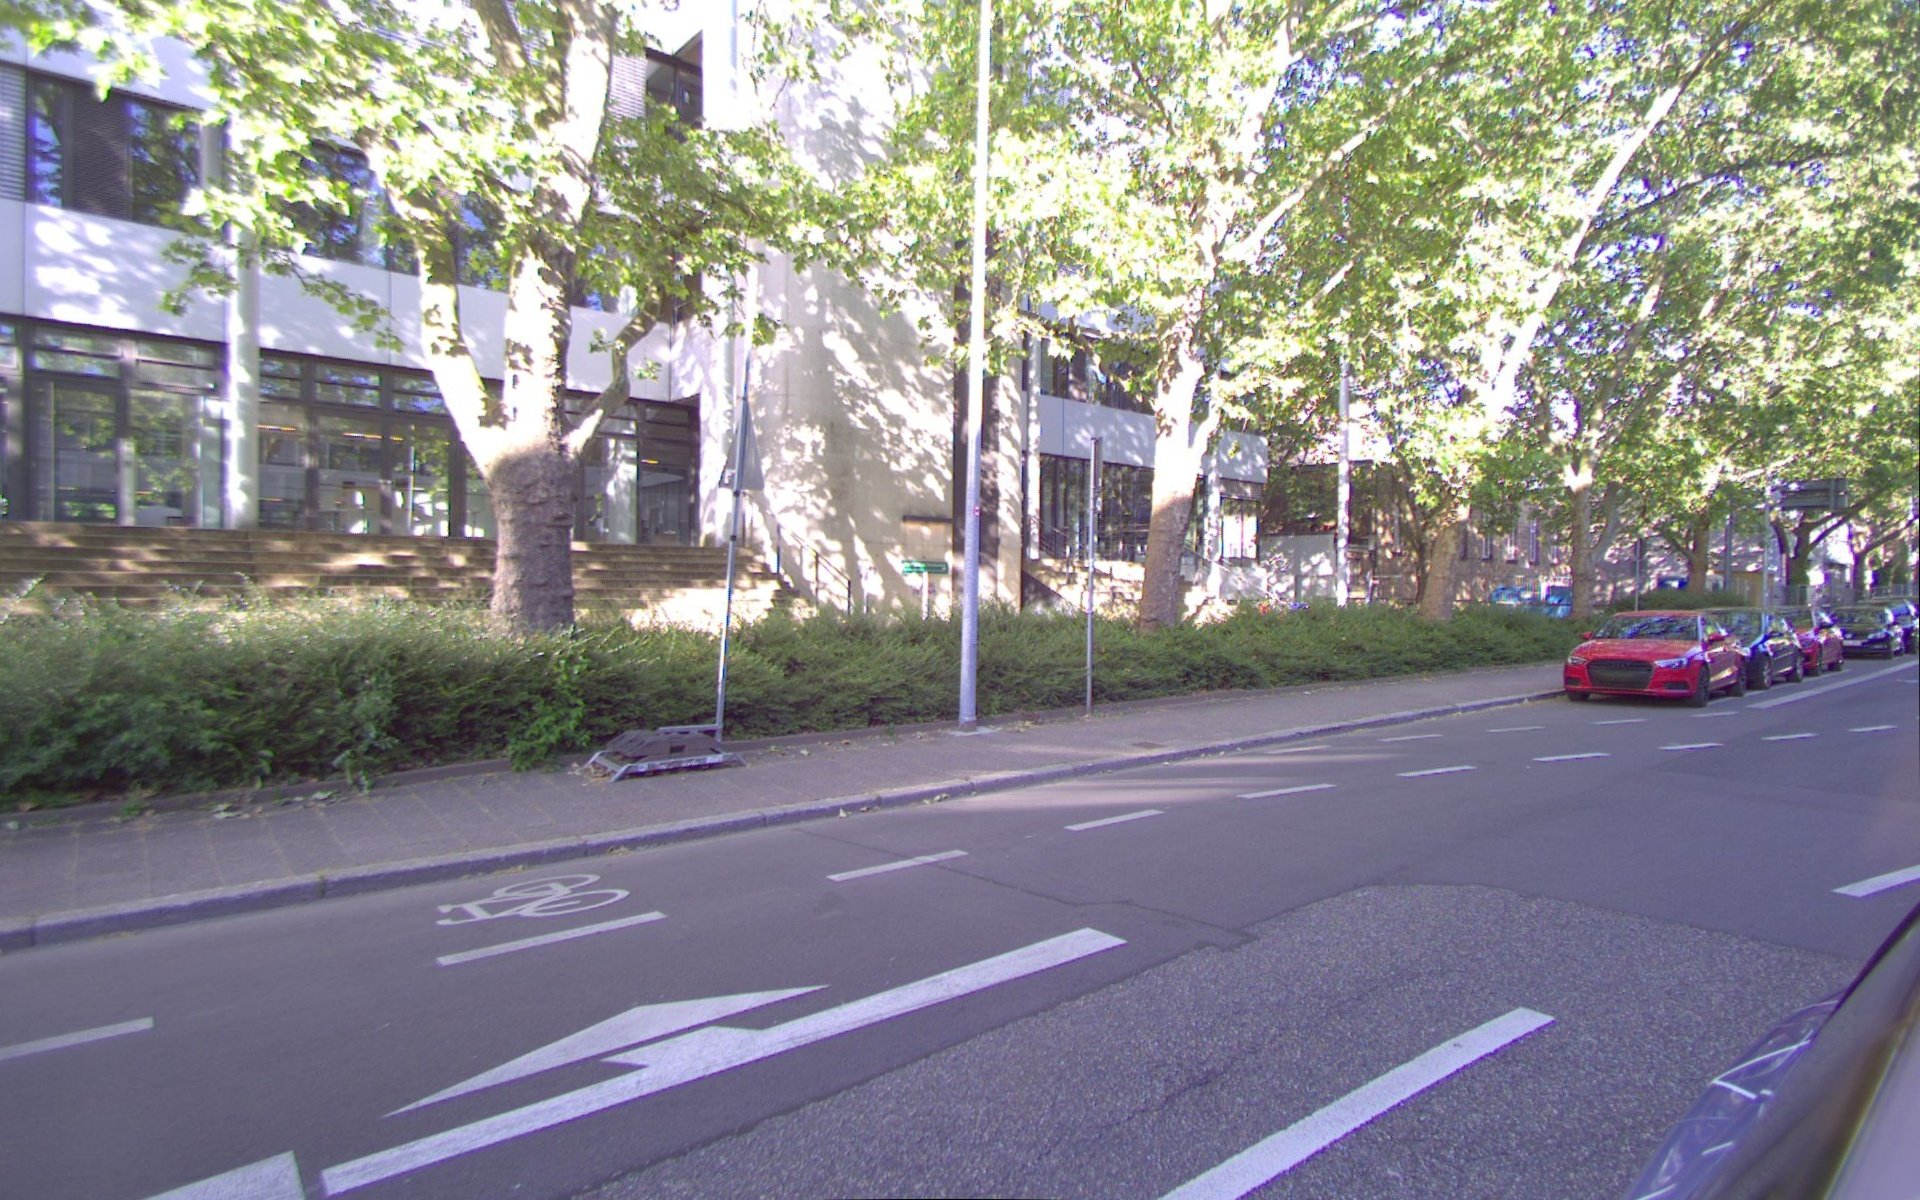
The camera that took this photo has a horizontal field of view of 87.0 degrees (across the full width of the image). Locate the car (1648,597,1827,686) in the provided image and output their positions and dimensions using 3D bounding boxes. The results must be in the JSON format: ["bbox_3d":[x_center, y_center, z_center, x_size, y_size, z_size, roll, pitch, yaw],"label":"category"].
[{"bbox_3d":[14.771,0.693,19.141,4.403,1.469,1.865,0,0,-41],"label":"car"}]

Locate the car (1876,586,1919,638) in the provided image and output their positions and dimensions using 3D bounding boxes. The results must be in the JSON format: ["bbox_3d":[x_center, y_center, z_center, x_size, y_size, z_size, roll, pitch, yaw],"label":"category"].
[{"bbox_3d":[33.912,0.395,35.697,4.403,1.781,1.865,0,0,-41],"label":"car"}]

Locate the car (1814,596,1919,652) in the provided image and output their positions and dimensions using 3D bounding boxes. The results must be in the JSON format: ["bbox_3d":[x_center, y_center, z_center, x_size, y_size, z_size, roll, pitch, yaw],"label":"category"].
[{"bbox_3d":[25.794,0.622,28.612,4.403,1.469,1.865,0,0,-41],"label":"car"}]

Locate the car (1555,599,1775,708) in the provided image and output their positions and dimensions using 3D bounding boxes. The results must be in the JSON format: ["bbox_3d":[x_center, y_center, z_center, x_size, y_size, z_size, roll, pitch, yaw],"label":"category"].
[{"bbox_3d":[11.323,0.740,16.140,4.403,1.469,1.865,0,0,-41],"label":"car"}]

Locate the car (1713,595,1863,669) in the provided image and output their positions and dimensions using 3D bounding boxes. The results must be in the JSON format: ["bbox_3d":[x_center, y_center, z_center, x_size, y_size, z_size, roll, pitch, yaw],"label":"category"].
[{"bbox_3d":[18.439,0.638,22.478,4.403,1.469,1.865,0,0,-41],"label":"car"}]

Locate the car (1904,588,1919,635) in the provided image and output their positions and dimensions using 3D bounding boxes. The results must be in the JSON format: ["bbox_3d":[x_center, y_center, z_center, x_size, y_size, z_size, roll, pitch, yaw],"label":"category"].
[{"bbox_3d":[38.878,0.444,39.967,4.403,1.781,1.865,0,0,-41],"label":"car"}]

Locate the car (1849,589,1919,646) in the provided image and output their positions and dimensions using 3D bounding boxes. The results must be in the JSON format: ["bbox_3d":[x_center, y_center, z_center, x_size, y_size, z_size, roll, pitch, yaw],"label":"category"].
[{"bbox_3d":[29.574,0.514,31.807,4.403,1.689,1.865,0,0,-41],"label":"car"}]
